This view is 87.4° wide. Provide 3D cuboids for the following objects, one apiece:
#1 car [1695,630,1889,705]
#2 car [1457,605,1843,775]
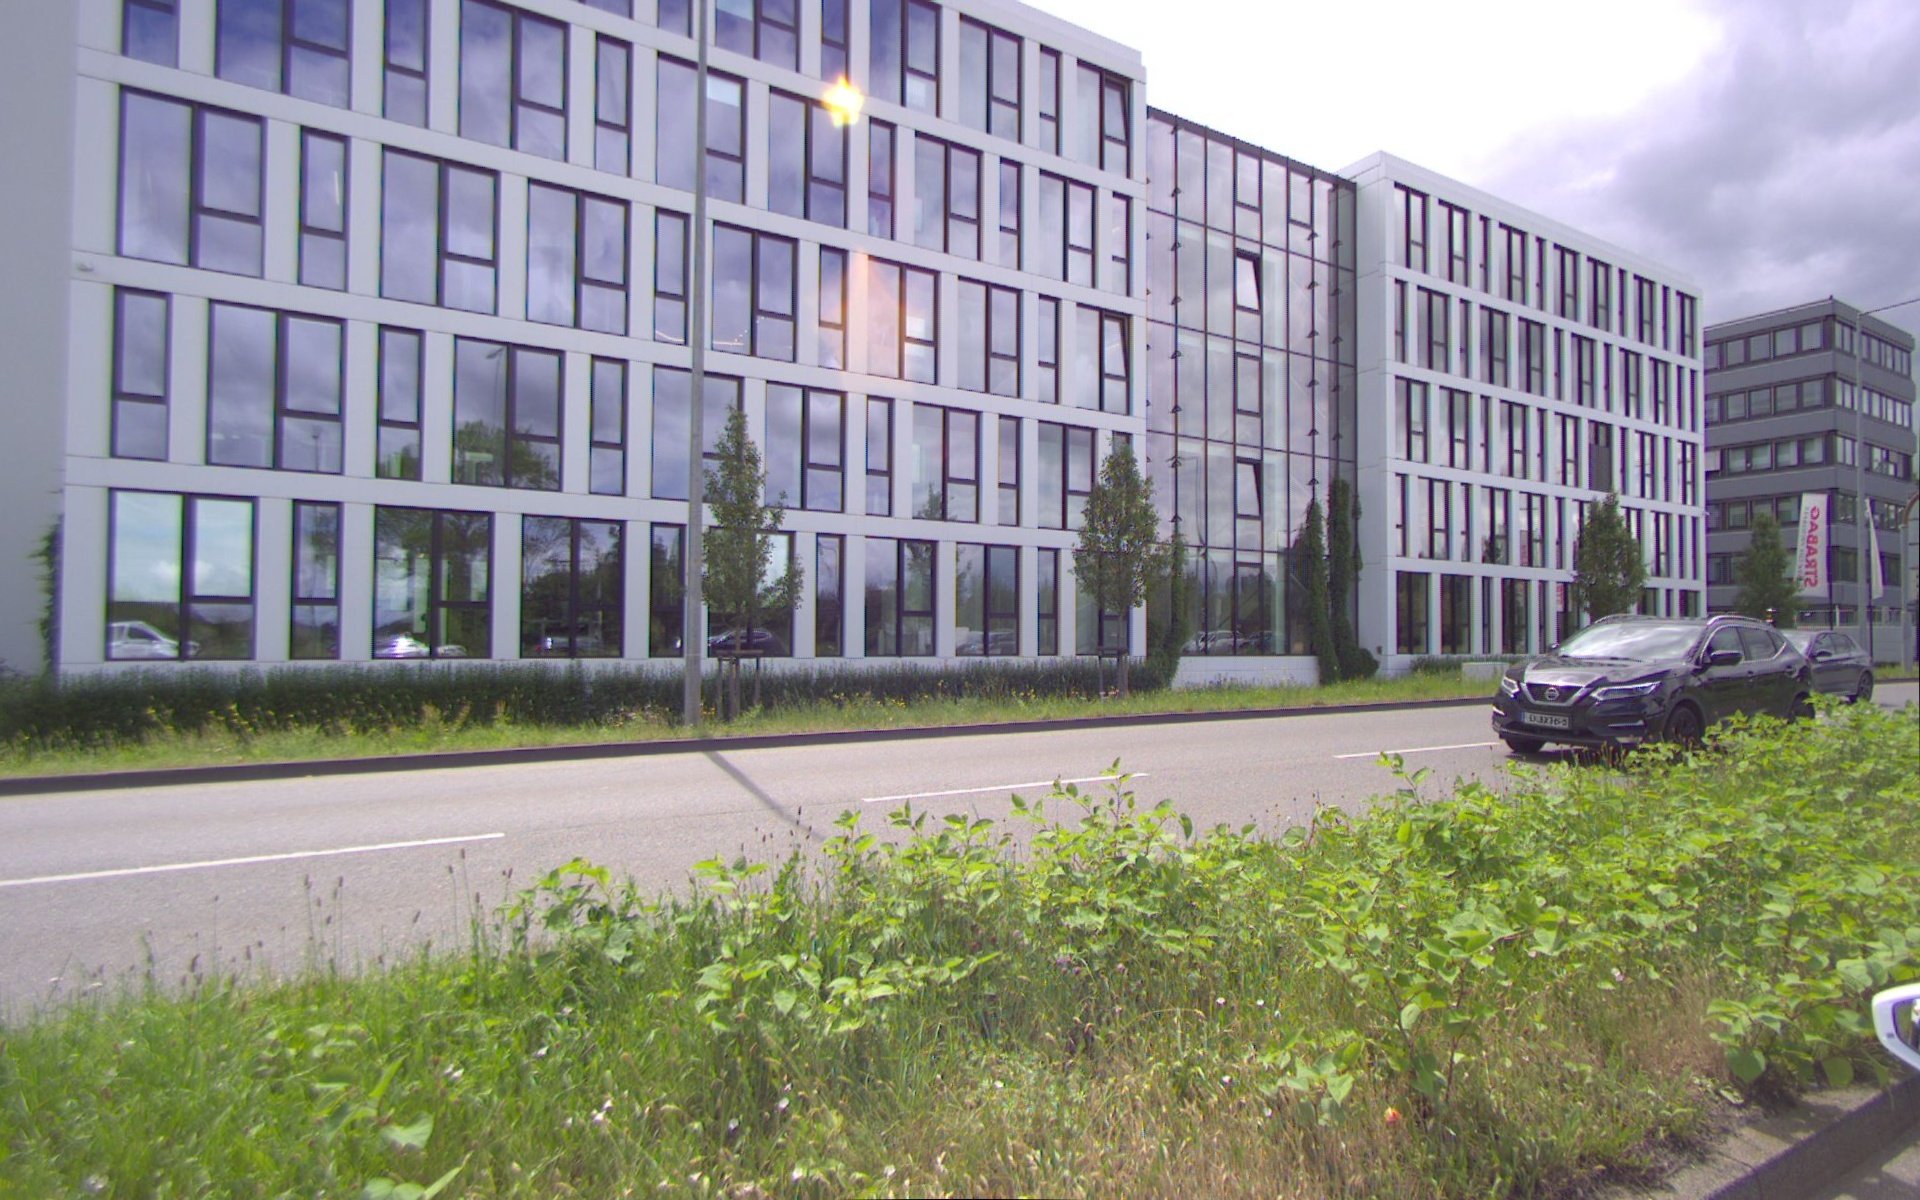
[{"bbox_3d":[16.348,1.277,19.725,3.663,1.355,1.704,1,-2,-29],"label":"car"},{"bbox_3d":[7.993,0.932,11.597,4.265,1.637,1.985,1,-2,-29],"label":"car"}]
